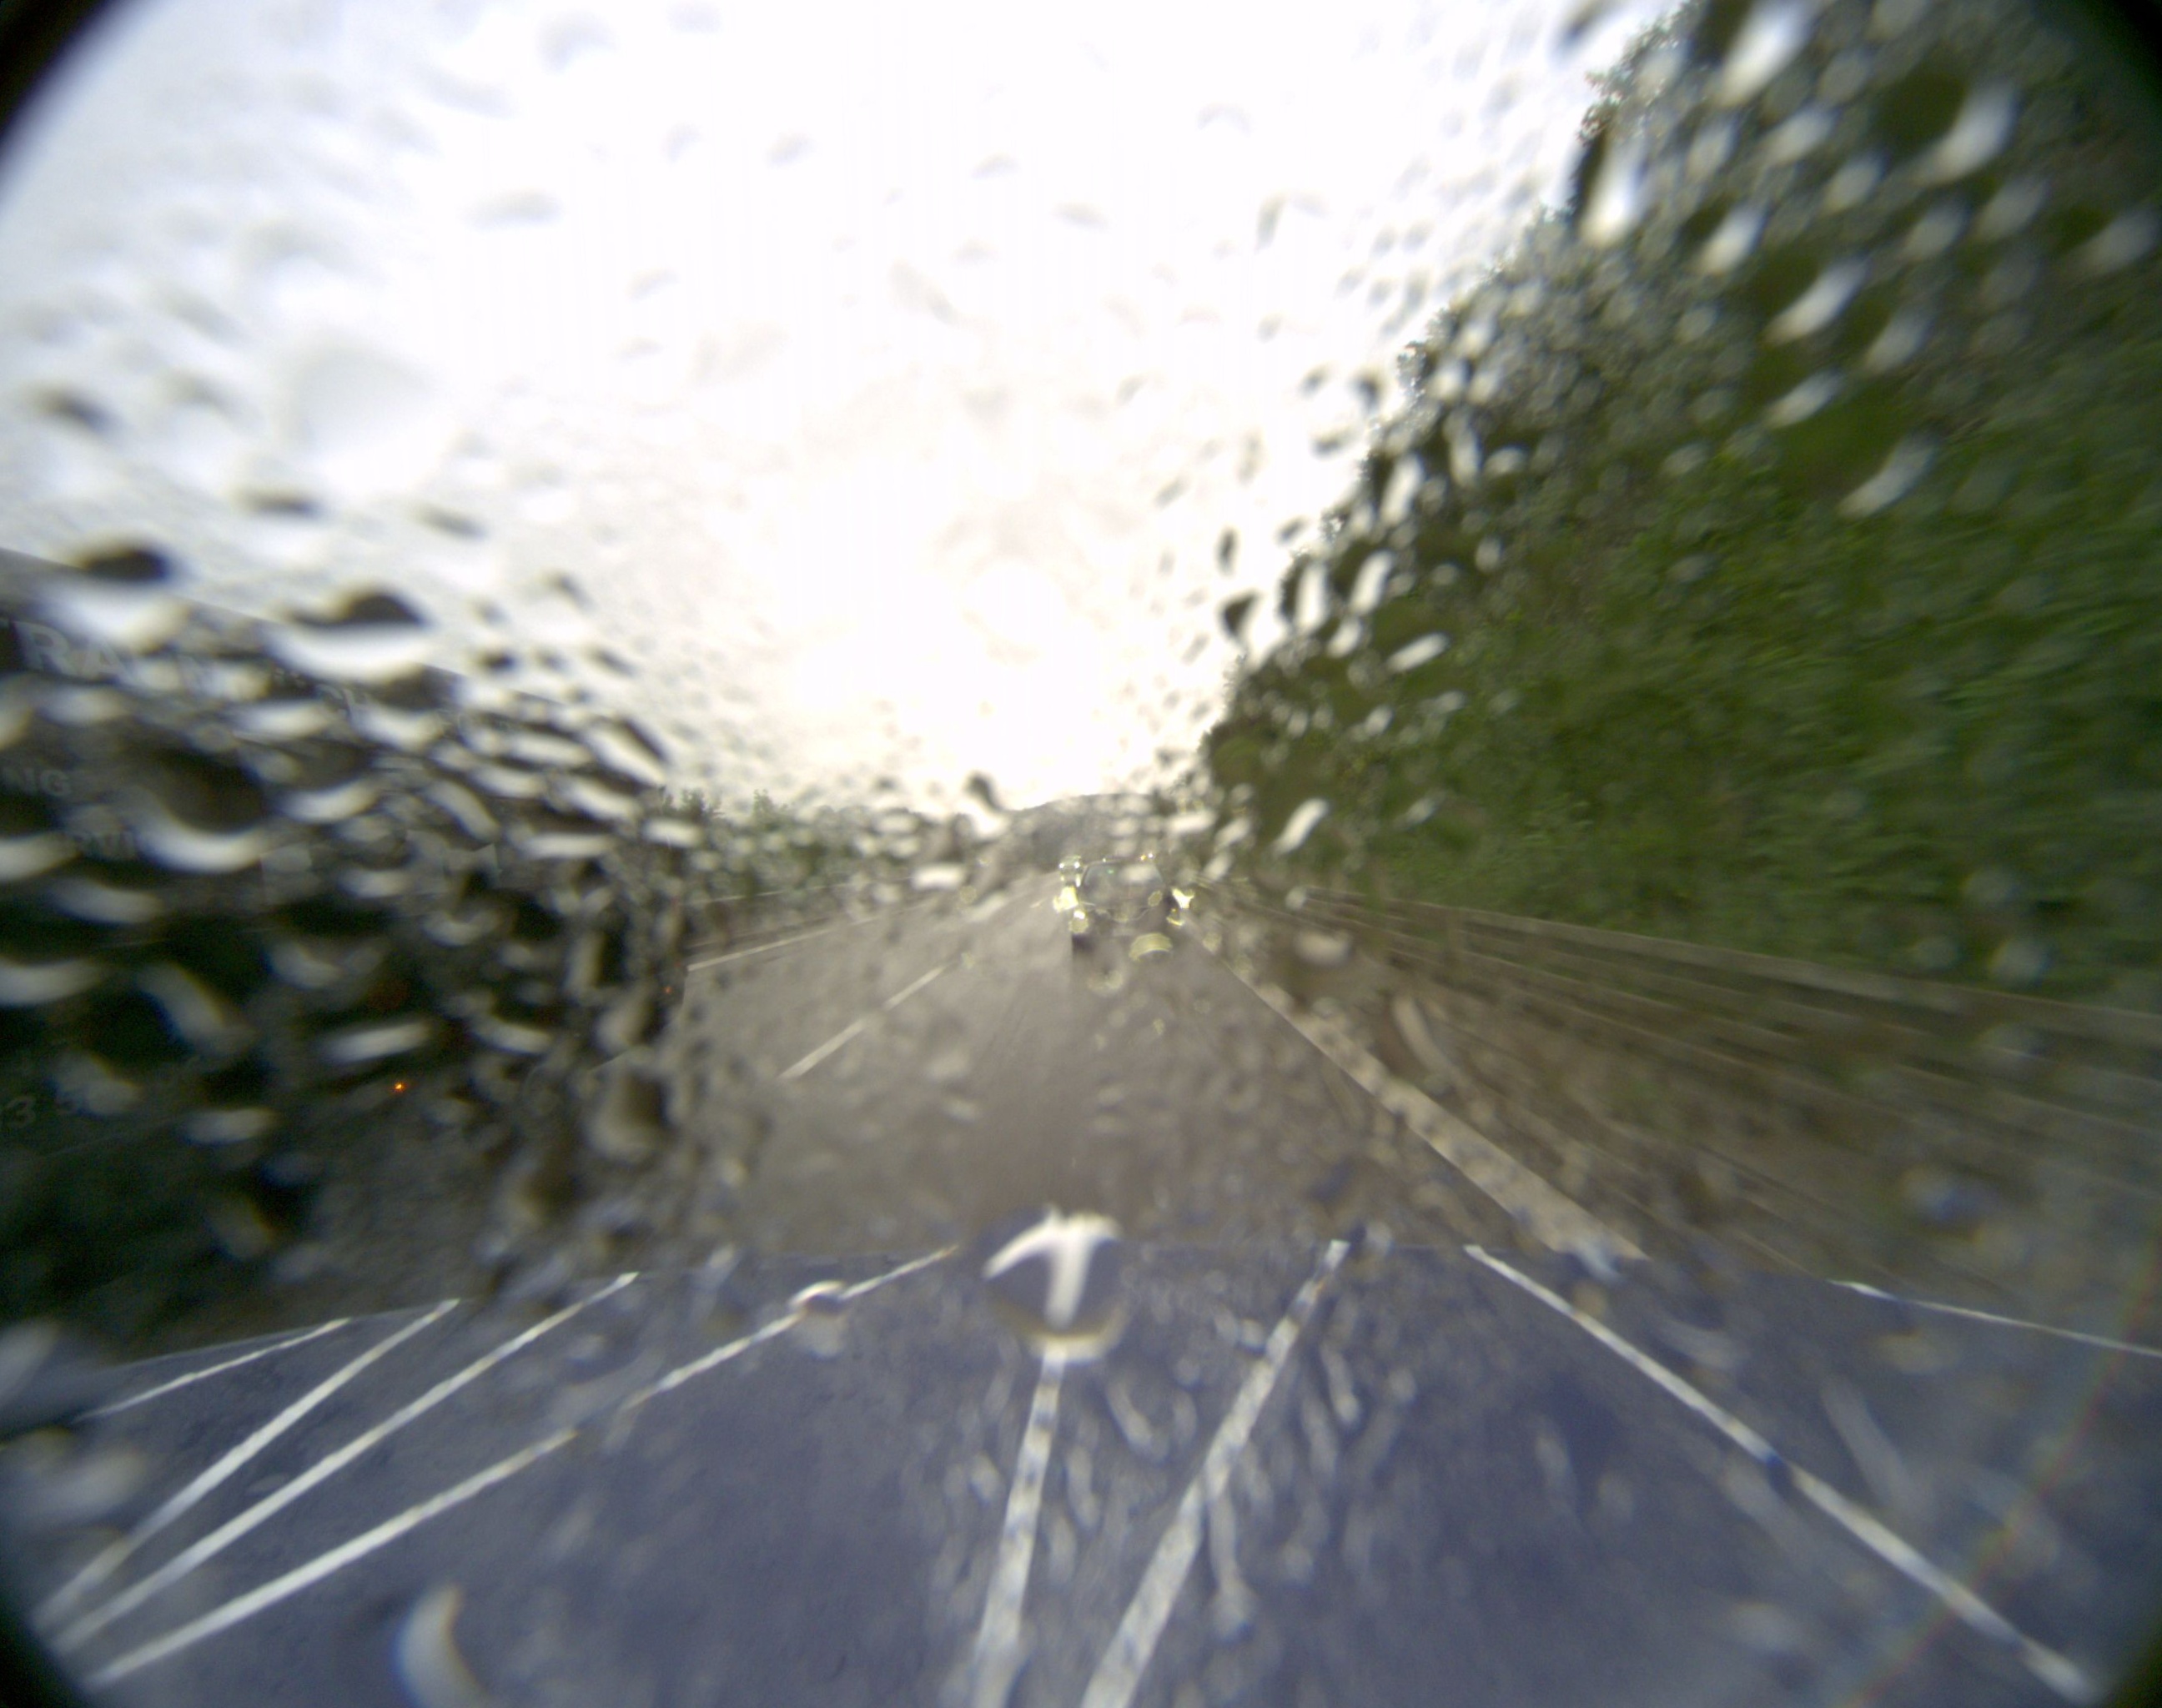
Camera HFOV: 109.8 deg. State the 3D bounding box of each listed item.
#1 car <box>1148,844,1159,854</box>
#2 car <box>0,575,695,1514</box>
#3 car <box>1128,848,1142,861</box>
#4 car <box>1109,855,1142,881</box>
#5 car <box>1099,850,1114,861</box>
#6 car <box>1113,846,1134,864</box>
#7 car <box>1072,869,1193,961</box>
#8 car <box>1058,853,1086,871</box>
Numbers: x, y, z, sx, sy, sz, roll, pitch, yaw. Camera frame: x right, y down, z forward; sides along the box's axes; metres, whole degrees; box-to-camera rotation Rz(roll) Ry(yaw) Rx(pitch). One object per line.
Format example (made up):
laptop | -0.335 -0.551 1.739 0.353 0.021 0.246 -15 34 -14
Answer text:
car | 15.175 -1.000 158.642 1.908 2.002 4.000 -2 1 3
car | -3.865 0.522 2.163 1.998 2.479 6.705 -2 0 0
car | 7.502 0.043 105.977 1.658 1.535 3.664 -5 1 2
car | 2.524 0.753 42.761 1.712 1.316 3.946 -3 0 4
car | 3.805 0.188 113.842 1.990 1.407 4.565 -3 0 5
car | 4.077 0.072 72.562 1.906 1.545 4.565 -3 0 4
car | 0.803 0.984 13.805 1.839 1.316 4.135 -2 0 0
car | -0.724 0.646 66.755 1.990 1.407 4.565 -3 0 4
